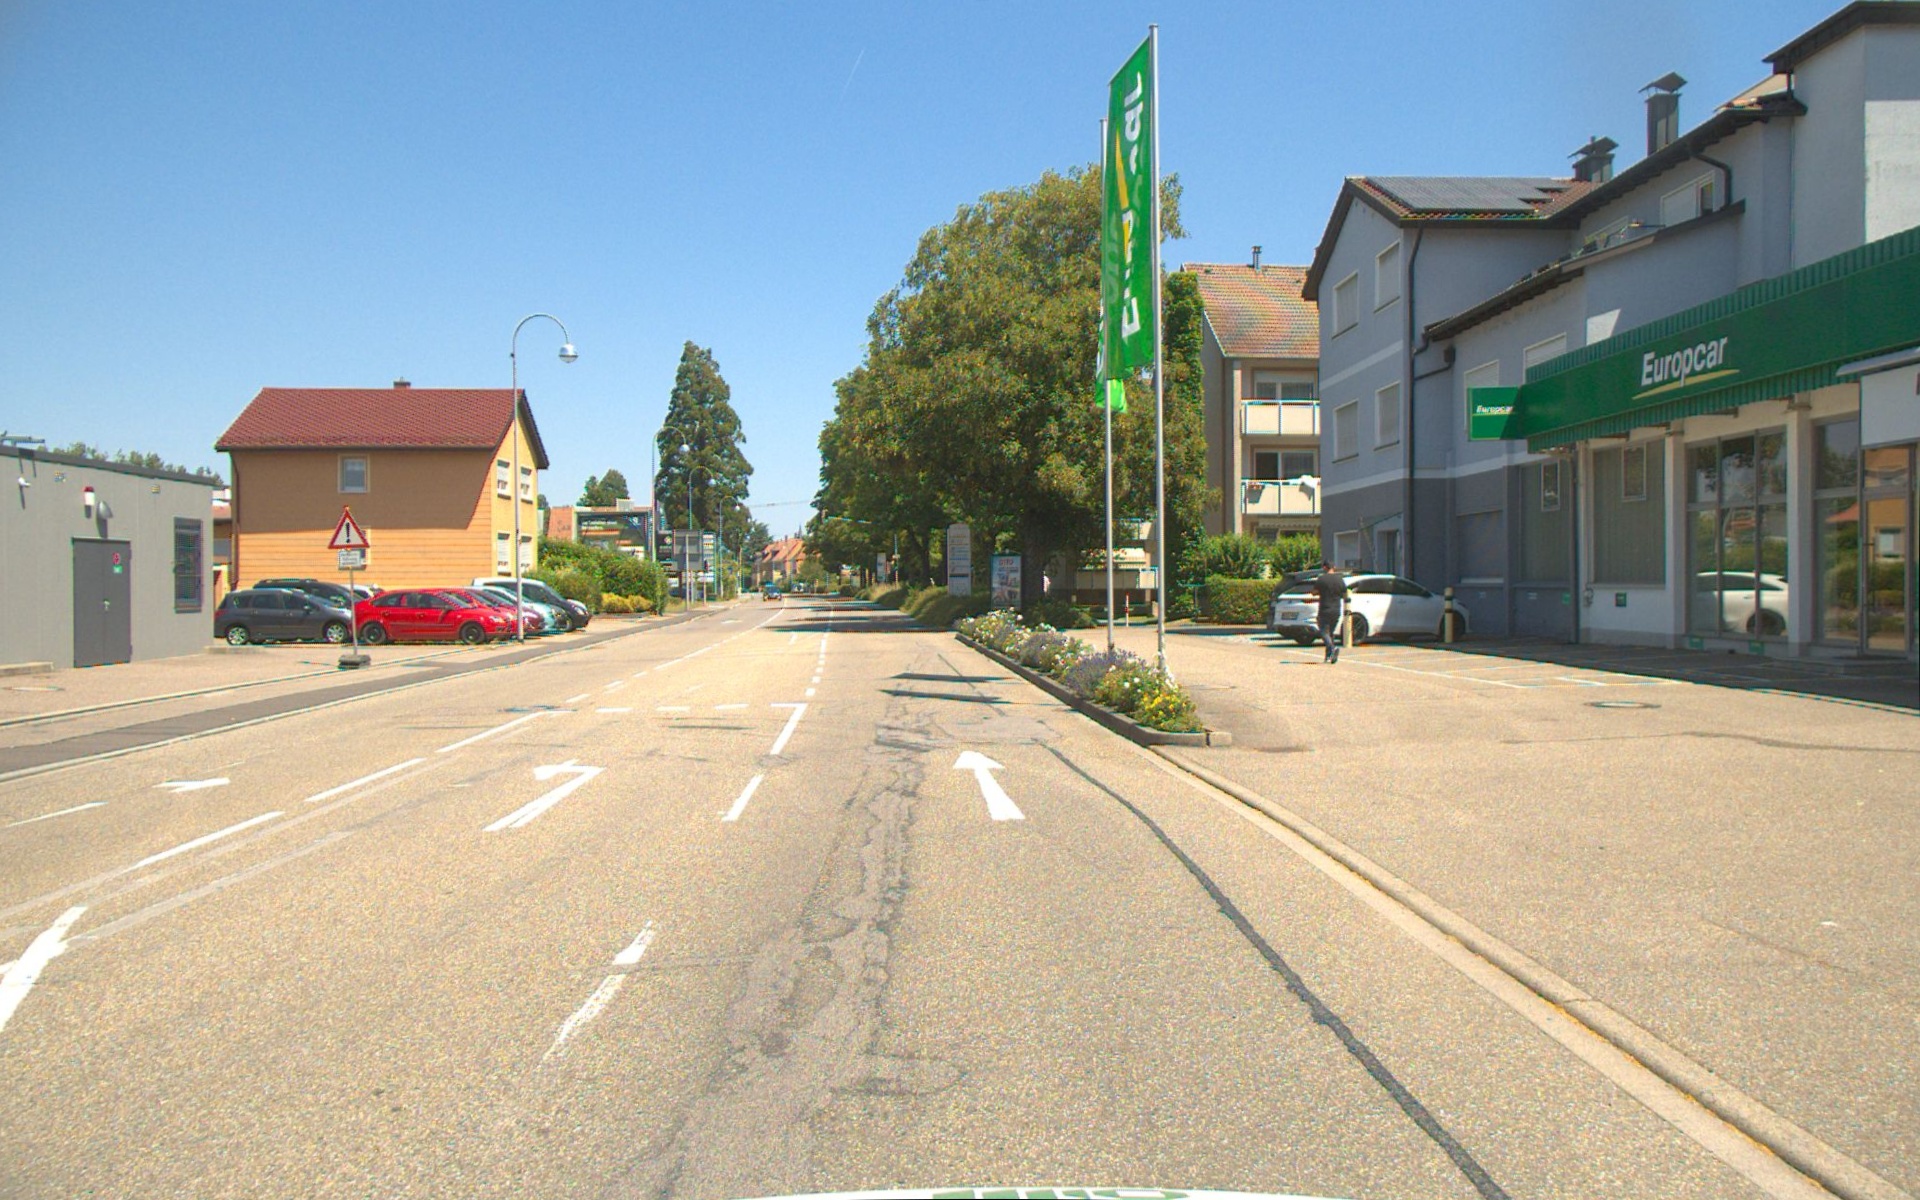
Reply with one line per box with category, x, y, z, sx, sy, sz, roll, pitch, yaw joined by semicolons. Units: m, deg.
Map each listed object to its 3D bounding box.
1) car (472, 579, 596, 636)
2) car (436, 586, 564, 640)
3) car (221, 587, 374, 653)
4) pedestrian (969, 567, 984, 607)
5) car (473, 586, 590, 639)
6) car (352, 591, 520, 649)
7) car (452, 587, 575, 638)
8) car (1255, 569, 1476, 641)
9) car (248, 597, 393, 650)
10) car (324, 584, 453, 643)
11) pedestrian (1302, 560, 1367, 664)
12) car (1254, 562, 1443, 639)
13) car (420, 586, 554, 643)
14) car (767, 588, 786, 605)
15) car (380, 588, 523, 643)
car;-15.095;0.253;58.782;4.018;1.931;1.996;-1;0;-9
car;-14.527;0.393;52.337;3.593;1.608;1.920;-1;0;-6
car;-18.719;0.550;46.854;3.594;1.739;1.890;-1;0;-7
pedestrian;0.807;-0.664;81.906;0.689;1.947;0.660;-1;0;-1
car;-14.632;0.405;56.673;3.593;1.701;1.920;-1;0;-6
car;-14.254;0.517;45.173;4.045;1.469;1.825;-1;0;-5
car;-14.659;0.397;54.441;3.593;1.558;1.920;-1;0;-6
car;8.533;0.089;34.785;4.292;1.395;1.939;-1;0;-27
car;-18.875;0.673;48.969;3.593;1.483;1.890;-1;0;-6
car;-18.657;0.426;54.119;3.593;1.807;1.920;-1;0;-6
pedestrian;6.160;0.192;27.218;0.823;1.670;1.010;-1;0;1
car;9.076;0.007;38.831;3.909;1.577;1.796;-3;0;-5
car;-14.303;0.430;50.160;3.593;1.633;1.879;-1;0;-6
car;-17.533;-0.348;158.262;1.676;1.521;4.274;-1;1;-5
car;-14.551;0.427;47.458;3.593;1.483;1.890;-1;0;-6
